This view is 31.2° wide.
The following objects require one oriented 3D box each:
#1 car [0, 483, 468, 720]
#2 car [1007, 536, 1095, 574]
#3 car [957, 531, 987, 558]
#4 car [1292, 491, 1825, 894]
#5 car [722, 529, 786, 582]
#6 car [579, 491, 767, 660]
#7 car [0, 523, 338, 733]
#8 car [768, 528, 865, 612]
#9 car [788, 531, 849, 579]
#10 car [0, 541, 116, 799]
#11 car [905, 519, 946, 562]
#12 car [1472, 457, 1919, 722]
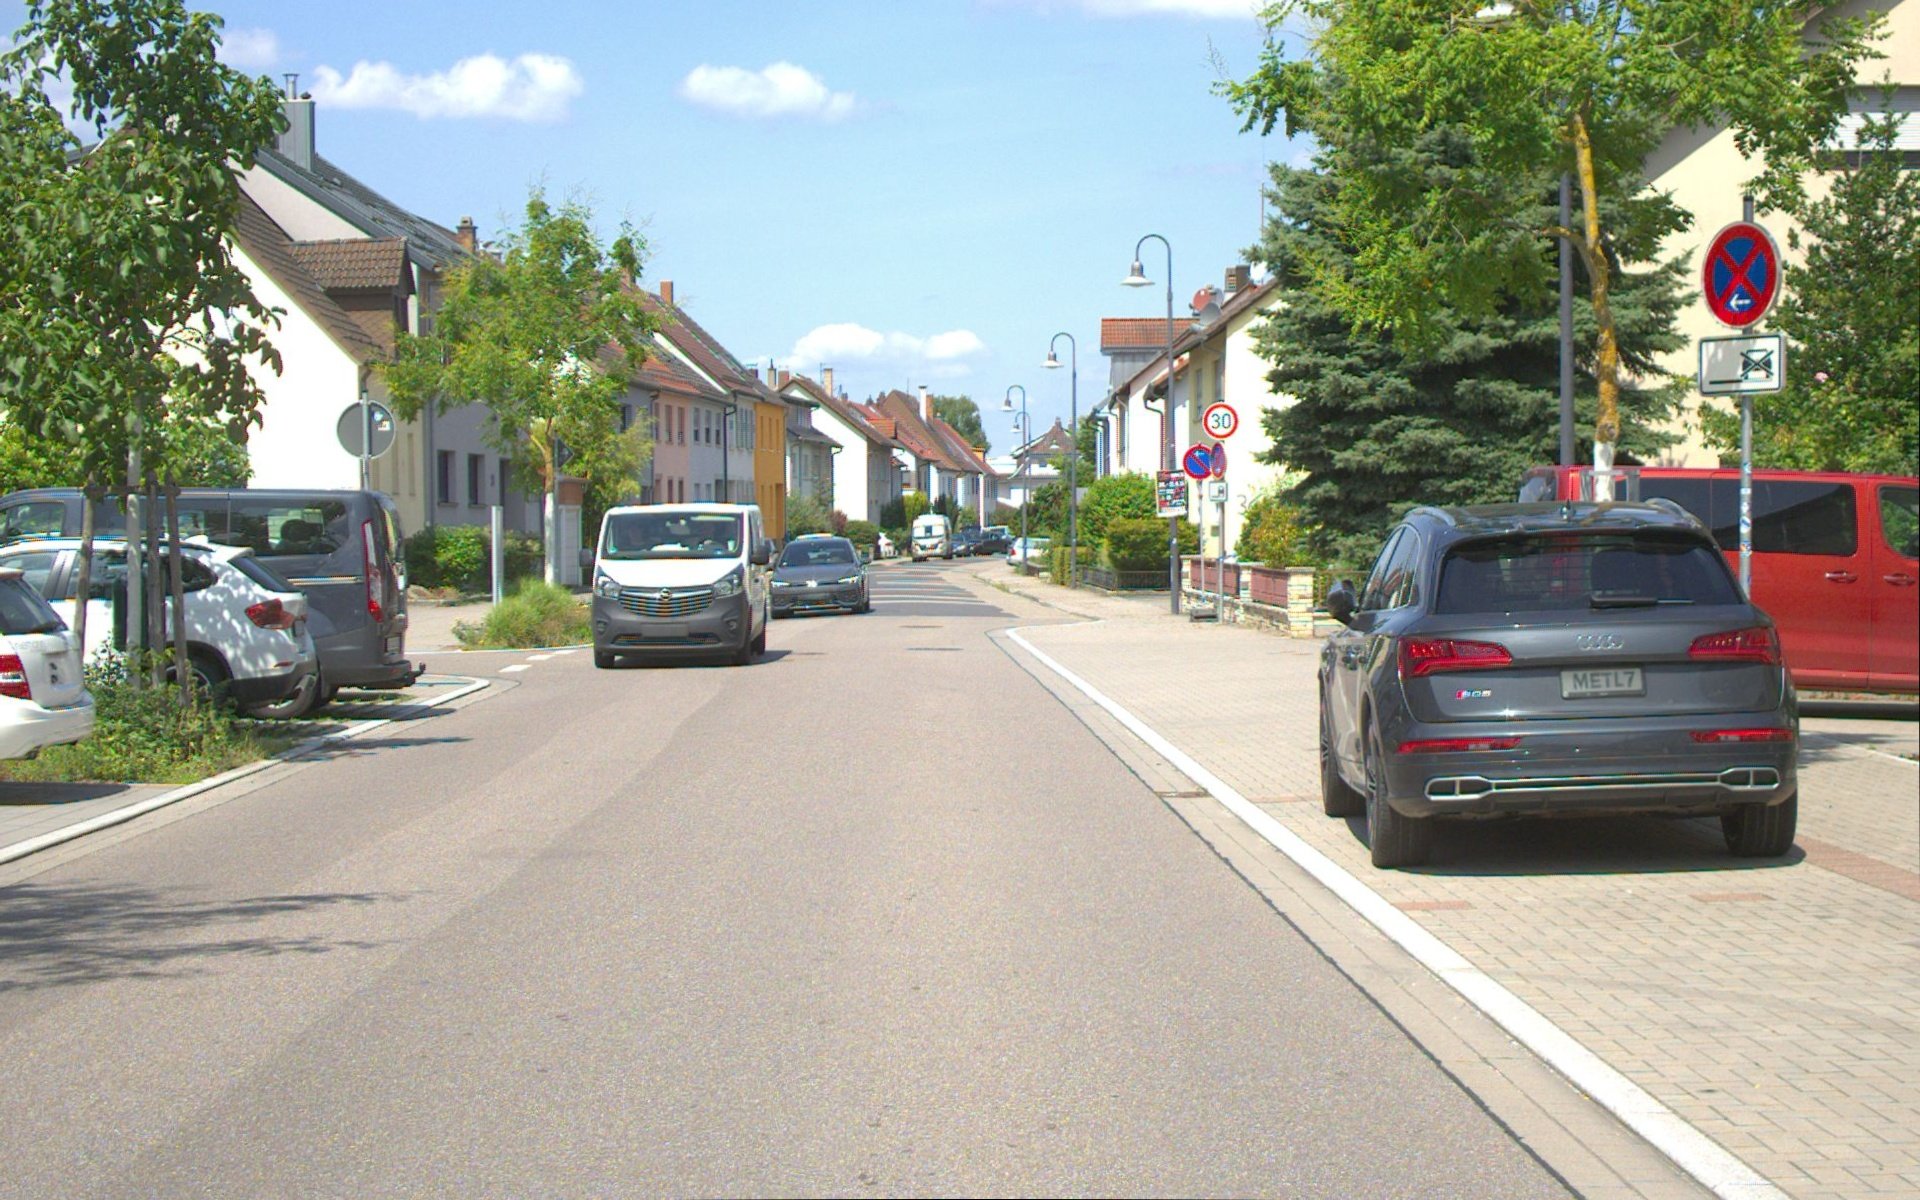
[{"bbox_3d":[-6.813,-0.009,30.126,4.700,1.916,1.938,1,0,-1],"label":"car"},{"bbox_3d":[3.691,-1.840,139.959,3.523,1.459,1.628,1,0,0],"label":"car"},{"bbox_3d":[0.775,-3.620,223.478,1.691,1.654,3.771,2,0,3],"label":"car"},{"bbox_3d":[2.735,0.327,16.705,1.864,1.630,4.446,-2,2,1],"label":"car"},{"bbox_3d":[-6.631,-1.434,110.920,1.810,1.603,4.000,2,1,0],"label":"car"},{"bbox_3d":[-3.455,-0.303,42.190,2.022,1.943,4.899,0,0,-2],"label":"car"},{"bbox_3d":[-7.171,0.188,27.330,4.182,1.563,1.774,1,0,-4],"label":"car"},{"bbox_3d":[-2.737,-0.595,66.055,1.762,1.517,4.049,-2,1,-2],"label":"car"},{"bbox_3d":[-5.098,-1.622,124.079,1.850,1.653,4.000,2,1,2],"label":"car"},{"bbox_3d":[-7.405,0.360,20.460,4.295,1.463,1.774,1,0,1],"label":"car"},{"bbox_3d":[-1.930,-3.343,193.909,2.045,2.304,3.771,1,0,3],"label":"car"},{"bbox_3d":[6.421,-0.063,26.338,4.618,1.887,2.021,1,0,-2],"label":"car"}]
